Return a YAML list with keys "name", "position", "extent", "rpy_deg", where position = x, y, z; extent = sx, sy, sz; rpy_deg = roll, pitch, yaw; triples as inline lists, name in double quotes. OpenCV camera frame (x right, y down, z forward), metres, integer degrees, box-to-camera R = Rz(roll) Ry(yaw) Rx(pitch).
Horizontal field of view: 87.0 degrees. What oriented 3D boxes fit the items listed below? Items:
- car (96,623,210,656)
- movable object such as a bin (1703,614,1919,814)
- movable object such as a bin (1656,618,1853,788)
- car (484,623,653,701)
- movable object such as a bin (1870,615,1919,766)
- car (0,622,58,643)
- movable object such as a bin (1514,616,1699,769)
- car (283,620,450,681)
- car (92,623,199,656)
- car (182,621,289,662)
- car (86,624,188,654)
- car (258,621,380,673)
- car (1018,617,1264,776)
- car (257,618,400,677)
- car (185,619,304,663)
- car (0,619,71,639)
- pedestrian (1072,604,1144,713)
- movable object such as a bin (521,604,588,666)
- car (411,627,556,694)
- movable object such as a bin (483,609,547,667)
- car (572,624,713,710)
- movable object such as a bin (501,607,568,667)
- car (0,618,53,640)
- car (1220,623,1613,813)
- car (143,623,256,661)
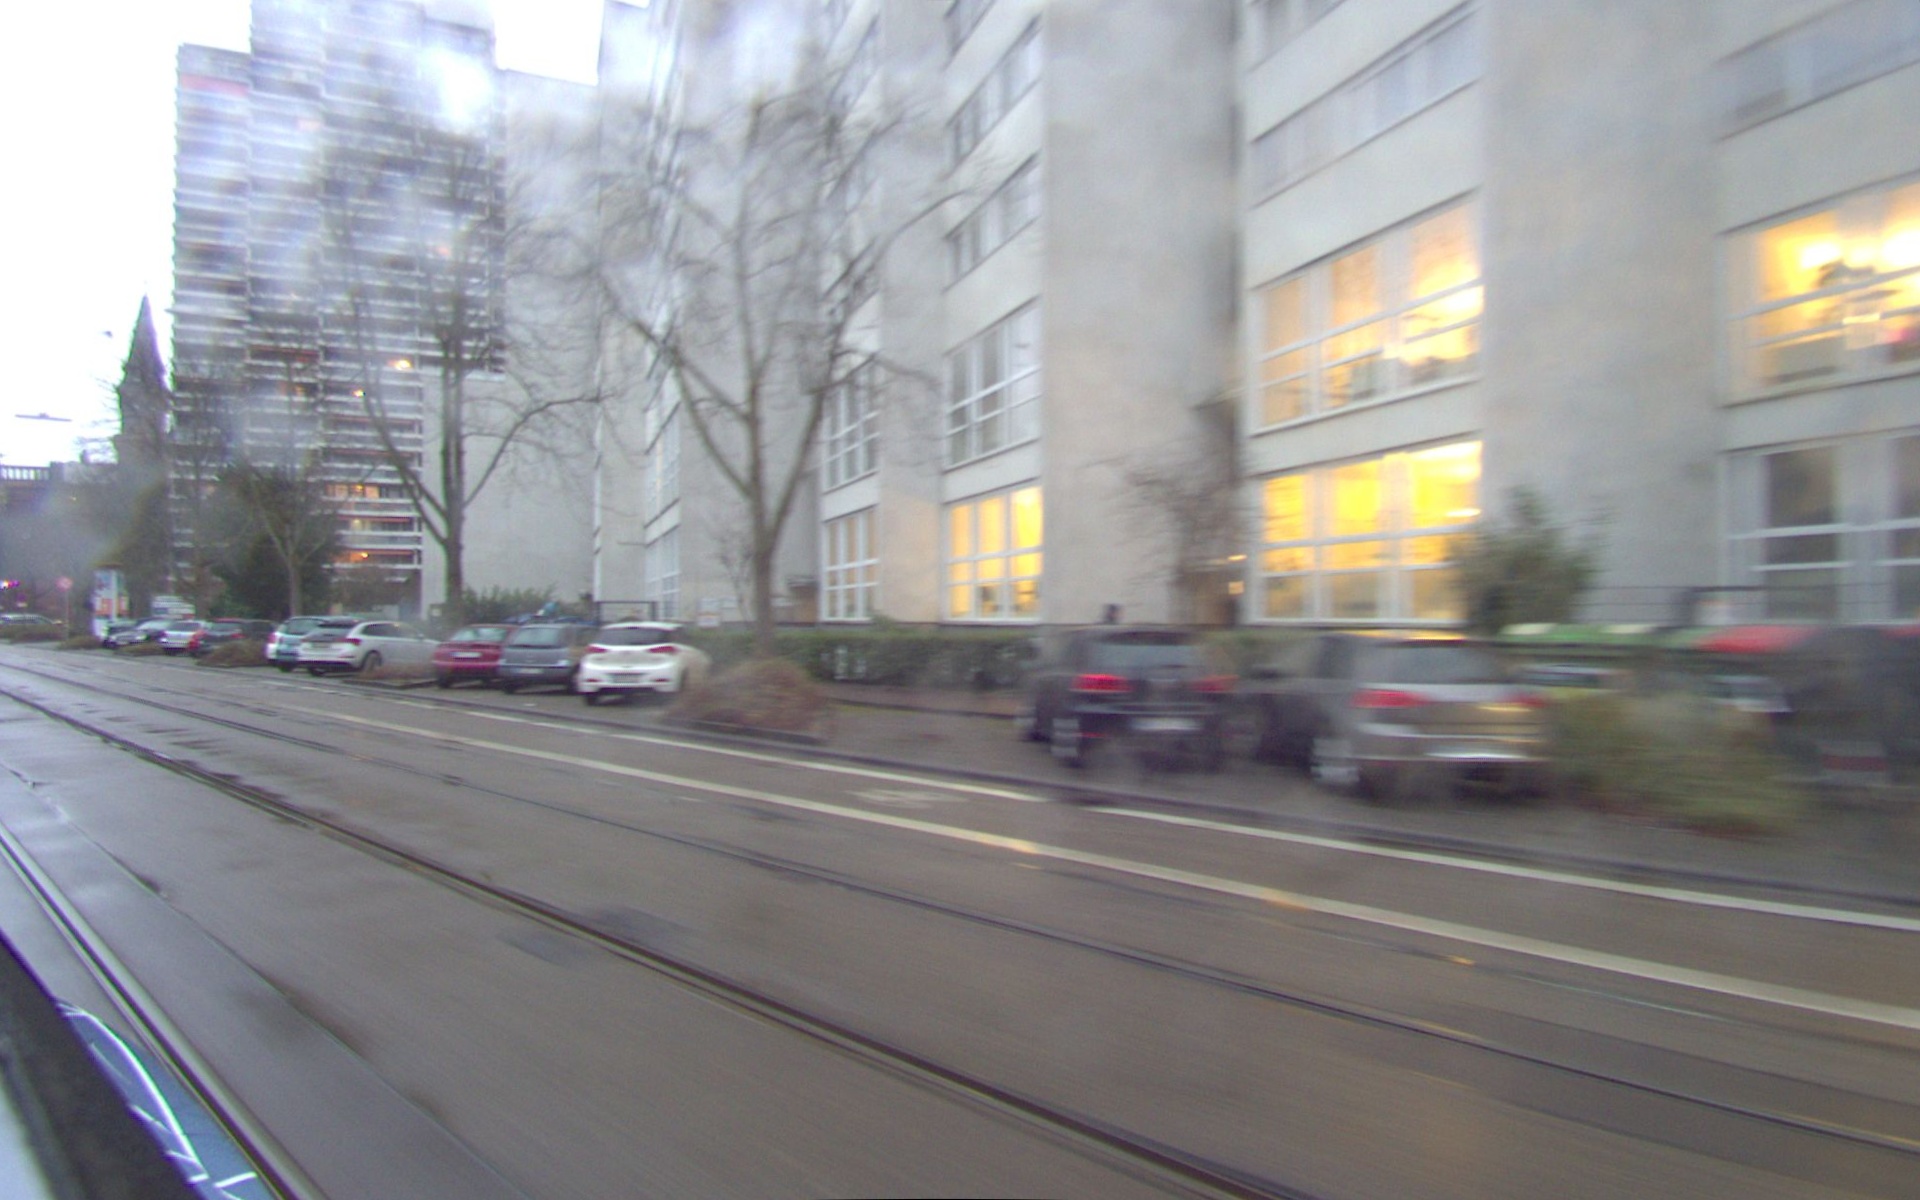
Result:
- name: "car"
  position: [-35.415, 1.728, 44.552]
  extent: [1.829, 1.389, 4.000]
  rpy_deg: [0, -2, -1]
- name: "movable object such as a bin"
  position: [6.878, 0.860, 8.120]
  extent: [1.103, 1.461, 1.259]
  rpy_deg: [-1, -2, 19]
- name: "movable object such as a bin"
  position: [7.330, 0.912, 9.424]
  extent: [1.103, 1.461, 1.085]
  rpy_deg: [-1, -2, 20]
- name: "car"
  position: [-8.223, 1.275, 21.667]
  extent: [1.715, 1.474, 3.992]
  rpy_deg: [1, -2, 6]
- name: "movable object such as a bin"
  position: [9.974, 0.880, 9.981]
  extent: [1.247, 1.461, 1.327]
  rpy_deg: [2, -3, -42]
- name: "car"
  position: [-68.678, 2.394, 74.015]
  extent: [3.939, 1.497, 1.673]
  rpy_deg: [2, -3, -43]
- name: "movable object such as a bin"
  position: [6.783, 0.919, 10.638]
  extent: [1.247, 1.461, 1.327]
  rpy_deg: [2, -3, -42]
- name: "car"
  position: [-15.712, 1.317, 27.052]
  extent: [1.716, 1.455, 3.990]
  rpy_deg: [1, -2, 8]
- name: "car"
  position: [-38.048, 1.846, 47.421]
  extent: [1.829, 1.474, 4.000]
  rpy_deg: [0, -2, -1]
- name: "car"
  position: [-27.961, 1.602, 39.176]
  extent: [1.705, 1.504, 3.451]
  rpy_deg: [0, -2, -1]
- name: "car"
  position: [-40.312, 1.929, 49.689]
  extent: [1.829, 1.410, 4.000]
  rpy_deg: [0, -2, -1]
- name: "car"
  position: [-20.510, 1.499, 32.592]
  extent: [1.668, 1.563, 3.880]
  rpy_deg: [0, -2, -4]
- name: "car"
  position: [1.822, 0.956, 11.529]
  extent: [1.804, 1.482, 4.003]
  rpy_deg: [0, -2, -4]
- name: "car"
  position: [-18.139, 1.348, 29.299]
  extent: [1.712, 1.575, 4.000]
  rpy_deg: [0, -2, -1]
- name: "car"
  position: [-25.622, 1.472, 36.388]
  extent: [1.671, 1.504, 3.856]
  rpy_deg: [0, -2, -3]
- name: "car"
  position: [-70.518, 2.207, 77.200]
  extent: [3.939, 1.497, 1.673]
  rpy_deg: [2, -3, -43]
- name: "pedestrian"
  position: [2.364, 0.921, 16.229]
  extent: [0.972, 1.690, 0.590]
  rpy_deg: [-2, -3, 41]
- name: "movable object such as a bin"
  position: [-12.784, 1.113, 31.929]
  extent: [1.317, 1.874, 1.553]
  rpy_deg: [-3, -4, 42]
- name: "car"
  position: [-10.745, 1.341, 23.166]
  extent: [1.722, 1.362, 4.354]
  rpy_deg: [1, -2, -7]
- name: "movable object such as a bin"
  position: [-14.848, 1.269, 33.784]
  extent: [1.317, 1.874, 1.553]
  rpy_deg: [-3, -4, 42]
- name: "car"
  position: [-5.807, 1.204, 18.959]
  extent: [1.710, 1.434, 3.856]
  rpy_deg: [0, -2, -5]
- name: "movable object such as a bin"
  position: [-13.807, 1.210, 32.853]
  extent: [1.393, 1.874, 1.553]
  rpy_deg: [-3, -4, 42]
- name: "car"
  position: [-73.389, 2.286, 78.853]
  extent: [3.939, 1.652, 2.002]
  rpy_deg: [2, -3, -43]
- name: "car"
  position: [4.010, 0.975, 9.754]
  extent: [1.822, 1.439, 4.001]
  rpy_deg: [0, -2, -2]
- name: "car"
  position: [-30.517, 1.674, 40.774]
  extent: [1.765, 1.457, 4.004]
  rpy_deg: [0, -2, -5]
